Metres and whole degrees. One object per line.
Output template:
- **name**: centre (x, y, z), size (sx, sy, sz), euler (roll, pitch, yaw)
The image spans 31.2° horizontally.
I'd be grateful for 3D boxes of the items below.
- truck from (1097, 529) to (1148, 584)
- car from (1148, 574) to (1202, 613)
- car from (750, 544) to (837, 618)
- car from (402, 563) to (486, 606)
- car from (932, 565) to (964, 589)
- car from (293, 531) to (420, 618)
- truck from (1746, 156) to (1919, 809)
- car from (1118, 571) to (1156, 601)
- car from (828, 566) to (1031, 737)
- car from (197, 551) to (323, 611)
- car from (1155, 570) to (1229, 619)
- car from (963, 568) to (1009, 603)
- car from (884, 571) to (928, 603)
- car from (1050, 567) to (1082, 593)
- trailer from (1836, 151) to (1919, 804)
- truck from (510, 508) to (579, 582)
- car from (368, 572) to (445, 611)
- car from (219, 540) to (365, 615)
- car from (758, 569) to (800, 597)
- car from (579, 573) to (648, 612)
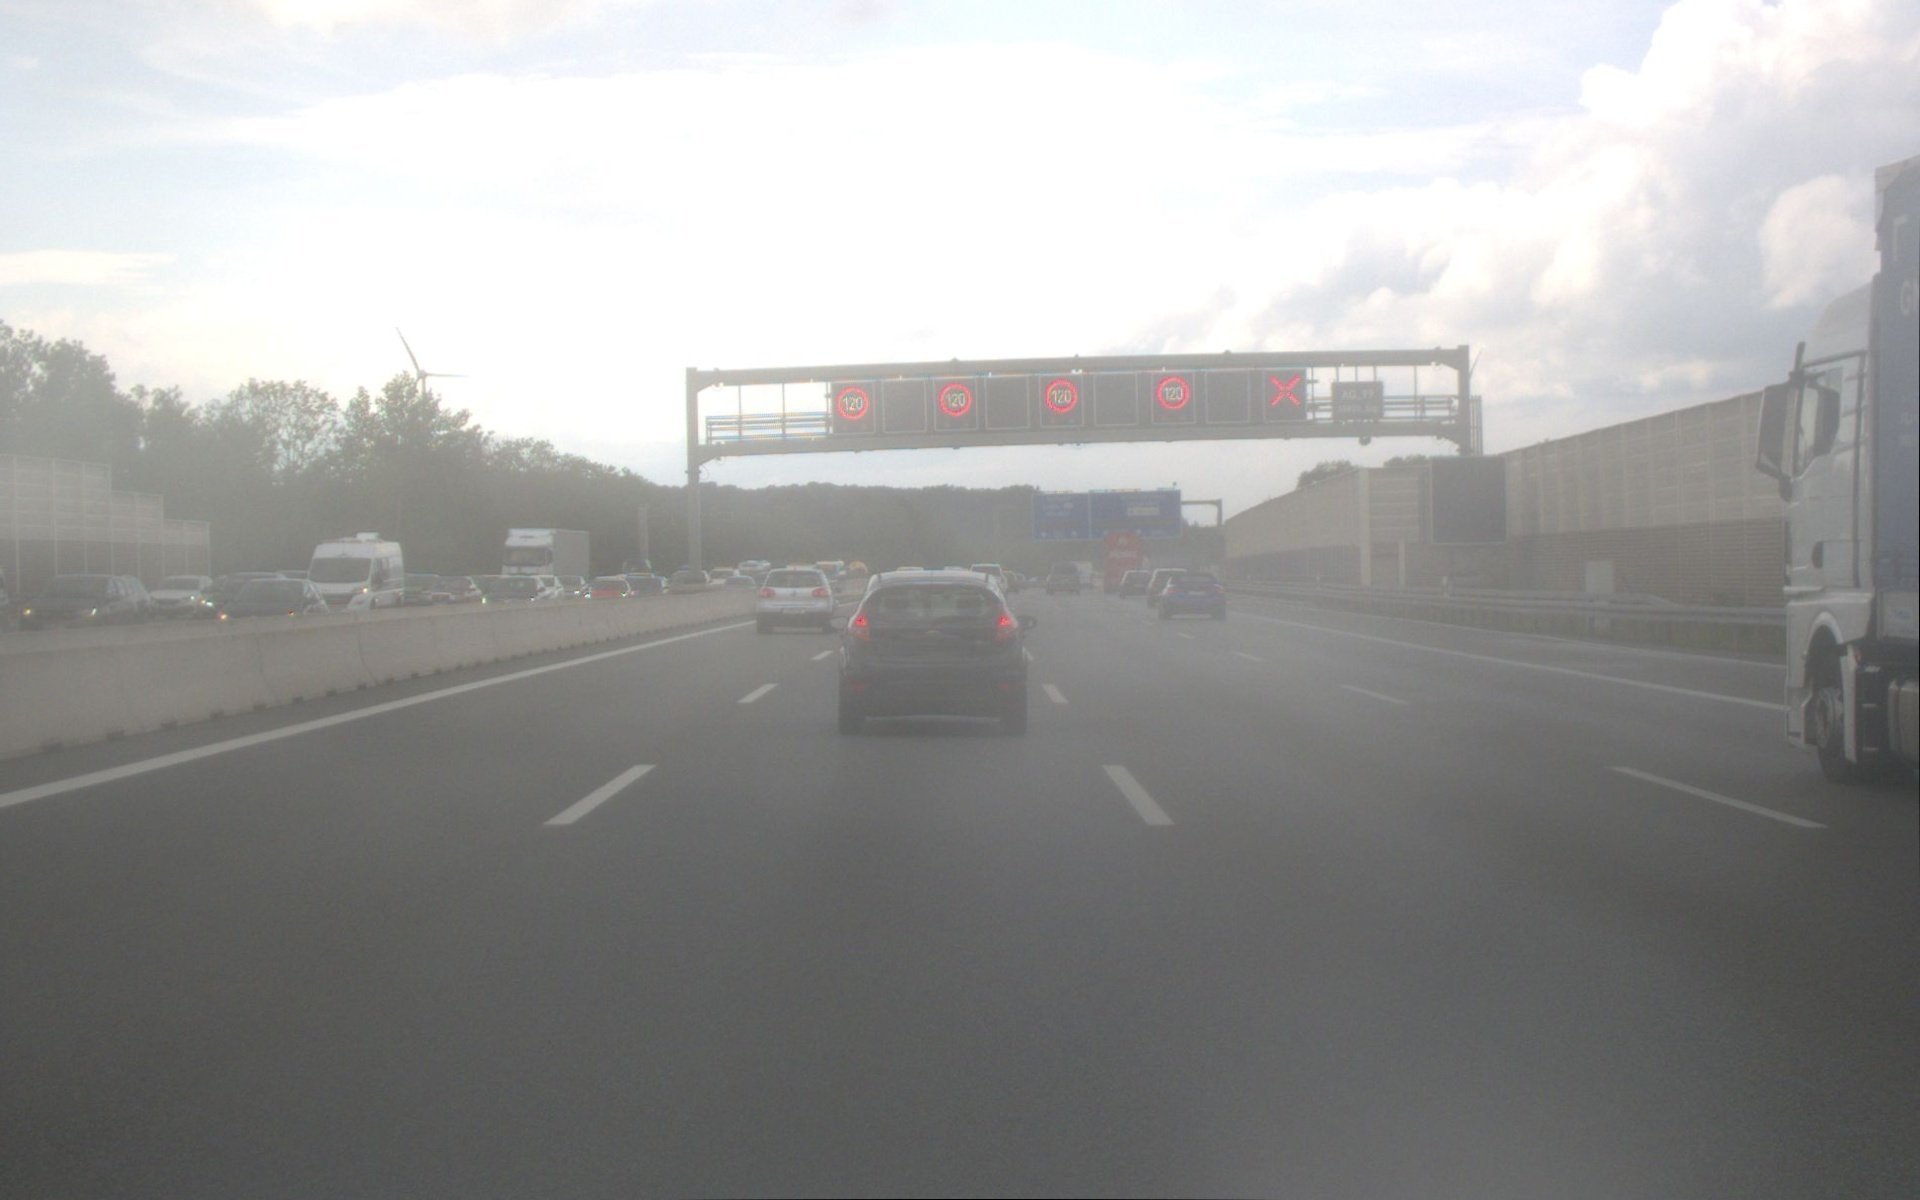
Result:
- **truck**: centre (10.857, -2.913, 230.936), size (3.152, 3.589, 12.699), euler (1, 1, 2)
- **car**: centre (8.594, -0.251, 137.916), size (1.882, 1.537, 4.433), euler (-1, 0, 0)
- **car**: centre (-3.766, -0.457, 78.434), size (1.717, 1.618, 4.278), euler (0, 1, 1)
- **car**: centre (-18.197, -0.538, 121.440), size (2.060, 1.486, 4.997), euler (0, 0, 2)
- **car**: centre (-0.811, -1.587, 233.880), size (1.968, 1.555, 4.433), euler (-1, 0, 2)
- **car**: centre (-18.187, -0.774, 103.925), size (2.383, 2.541, 7.086), euler (0, 0, 2)
- **truck**: centre (7.272, -0.746, 22.829), size (2.744, 4.021, 5.726), euler (0, 1, 0)
- **car**: centre (9.353, -0.730, 181.911), size (1.882, 1.555, 4.433), euler (-1, 0, 2)
- **car**: centre (-0.300, 0.416, 31.343), size (1.717, 1.412, 4.279), euler (0, 1, -1)
- **car**: centre (-17.877, -0.487, 88.020), size (2.060, 1.486, 4.997), euler (0, 0, 2)
- **car**: centre (6.900, -0.151, 102.545), size (1.950, 1.413, 4.232), euler (0, 0, 0)
- **car**: centre (1.222, -0.670, 158.891), size (1.968, 1.555, 4.433), euler (-1, 0, 2)
- **car**: centre (-2.706, -0.657, 172.469), size (1.968, 1.555, 4.433), euler (-1, 0, 2)
- **car**: centre (6.608, -1.224, 215.476), size (1.968, 1.555, 4.433), euler (-1, 0, 2)
- **trailer**: centre (7.331, -0.691, 15.888), size (2.761, 4.018, 14.453), euler (0, 1, 0)
- **truck**: centre (-23.033, -3.028, 190.872), size (2.972, 4.021, 5.726), euler (0, 1, 2)
- **car**: centre (-21.804, -0.342, 135.583), size (2.060, 1.486, 4.997), euler (0, 0, 2)
- **car**: centre (-13.872, -0.464, 71.682), size (2.060, 1.486, 4.997), euler (0, 0, 0)
- **car**: centre (-10.818, -1.025, 205.267), size (2.060, 1.640, 5.380), euler (0, 0, 2)
- **car**: centre (-13.474, -0.293, 133.941), size (2.060, 1.486, 4.997), euler (0, 0, 2)
